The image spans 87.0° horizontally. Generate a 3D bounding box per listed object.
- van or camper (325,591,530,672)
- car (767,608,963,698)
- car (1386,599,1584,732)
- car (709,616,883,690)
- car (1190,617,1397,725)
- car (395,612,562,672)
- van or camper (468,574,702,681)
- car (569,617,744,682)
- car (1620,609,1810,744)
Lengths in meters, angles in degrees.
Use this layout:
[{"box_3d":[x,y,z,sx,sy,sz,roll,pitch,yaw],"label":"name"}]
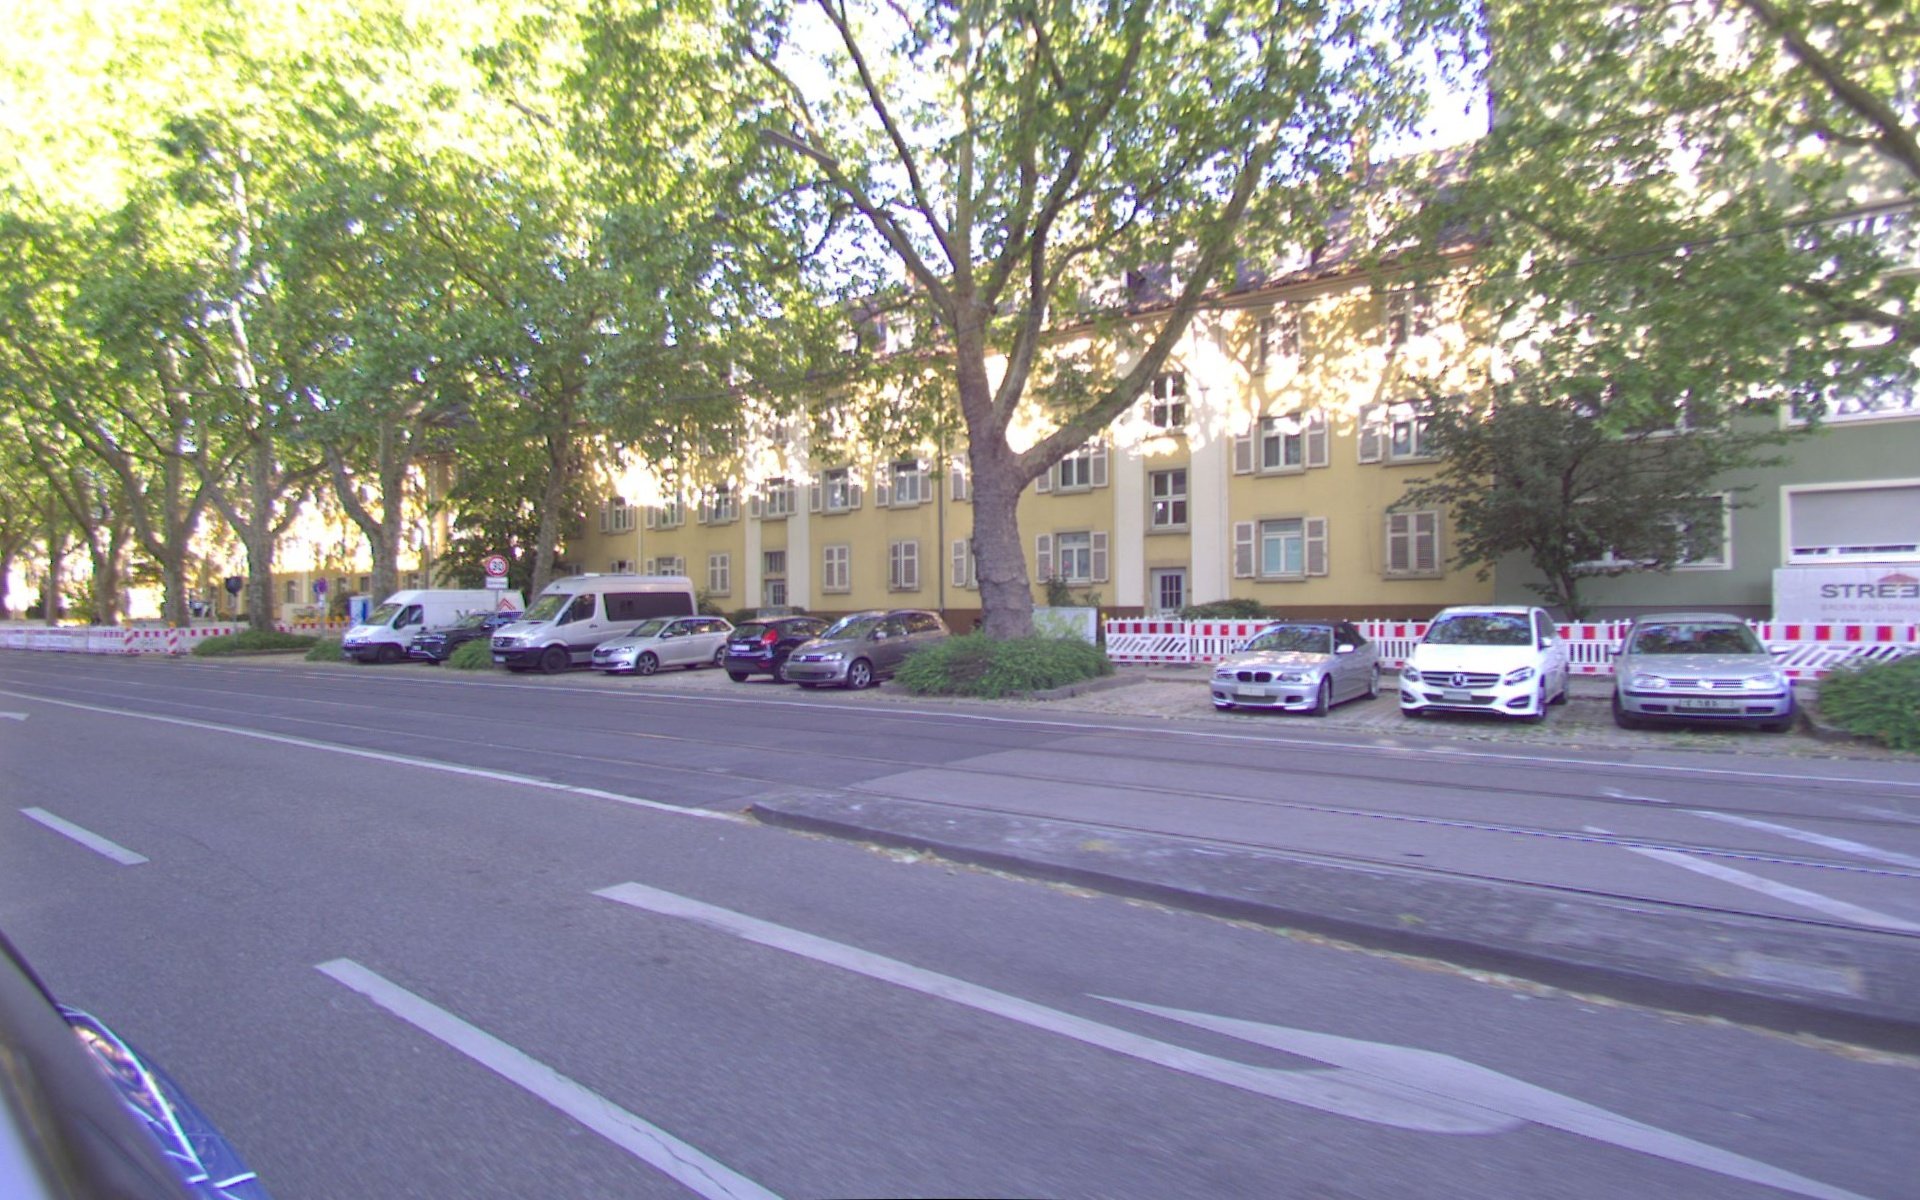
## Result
[{"box_3d":[-17.611,0.945,33.761,2.153,2.403,5.694,0,1,37],"label":"van or camper"},{"box_3d":[-1.911,1.025,21.323,1.842,1.631,4.031,0,1,39],"label":"car"},{"box_3d":[7.808,0.820,14.861,1.842,1.624,4.031,0,1,39],"label":"car"},{"box_3d":[-3.708,1.156,23.366,1.692,1.457,3.814,0,1,39],"label":"car"},{"box_3d":[5.401,1.012,16.075,1.842,1.379,4.031,0,1,39],"label":"car"},{"box_3d":[-15.070,1.267,31.894,1.692,1.645,4.485,0,1,39],"label":"car"},{"box_3d":[-10.211,0.646,28.087,2.153,2.668,5.861,0,1,37],"label":"van or camper"},{"box_3d":[-7.884,1.237,26.627,1.692,1.457,4.224,0,1,39],"label":"car"},{"box_3d":[9.831,0.873,13.453,1.699,1.427,3.956,0,1,32],"label":"car"}]
